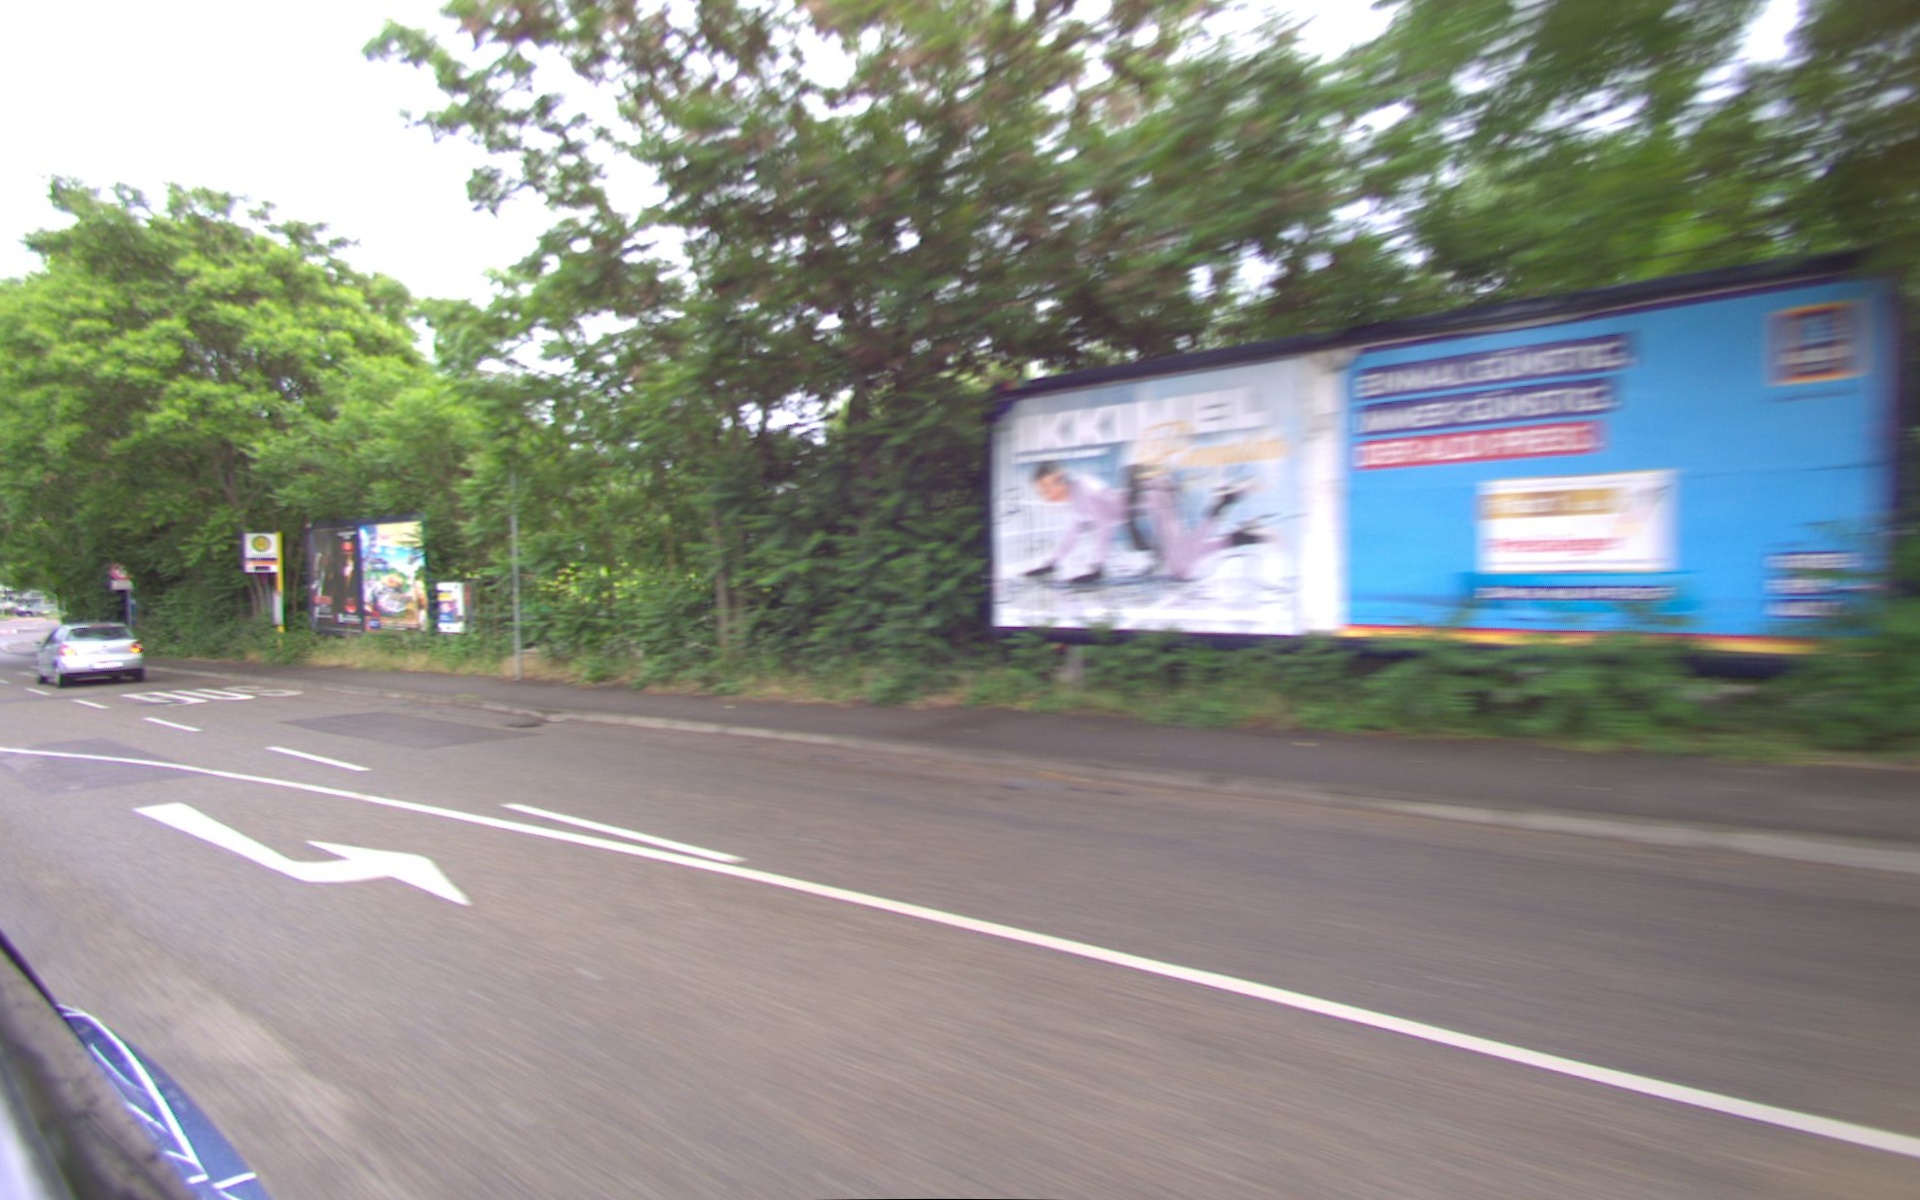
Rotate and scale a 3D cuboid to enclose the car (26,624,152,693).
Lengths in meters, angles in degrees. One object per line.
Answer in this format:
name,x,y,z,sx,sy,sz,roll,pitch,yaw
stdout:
car,-20.970,1.349,24.326,3.776,1.479,1.652,-1,0,39
